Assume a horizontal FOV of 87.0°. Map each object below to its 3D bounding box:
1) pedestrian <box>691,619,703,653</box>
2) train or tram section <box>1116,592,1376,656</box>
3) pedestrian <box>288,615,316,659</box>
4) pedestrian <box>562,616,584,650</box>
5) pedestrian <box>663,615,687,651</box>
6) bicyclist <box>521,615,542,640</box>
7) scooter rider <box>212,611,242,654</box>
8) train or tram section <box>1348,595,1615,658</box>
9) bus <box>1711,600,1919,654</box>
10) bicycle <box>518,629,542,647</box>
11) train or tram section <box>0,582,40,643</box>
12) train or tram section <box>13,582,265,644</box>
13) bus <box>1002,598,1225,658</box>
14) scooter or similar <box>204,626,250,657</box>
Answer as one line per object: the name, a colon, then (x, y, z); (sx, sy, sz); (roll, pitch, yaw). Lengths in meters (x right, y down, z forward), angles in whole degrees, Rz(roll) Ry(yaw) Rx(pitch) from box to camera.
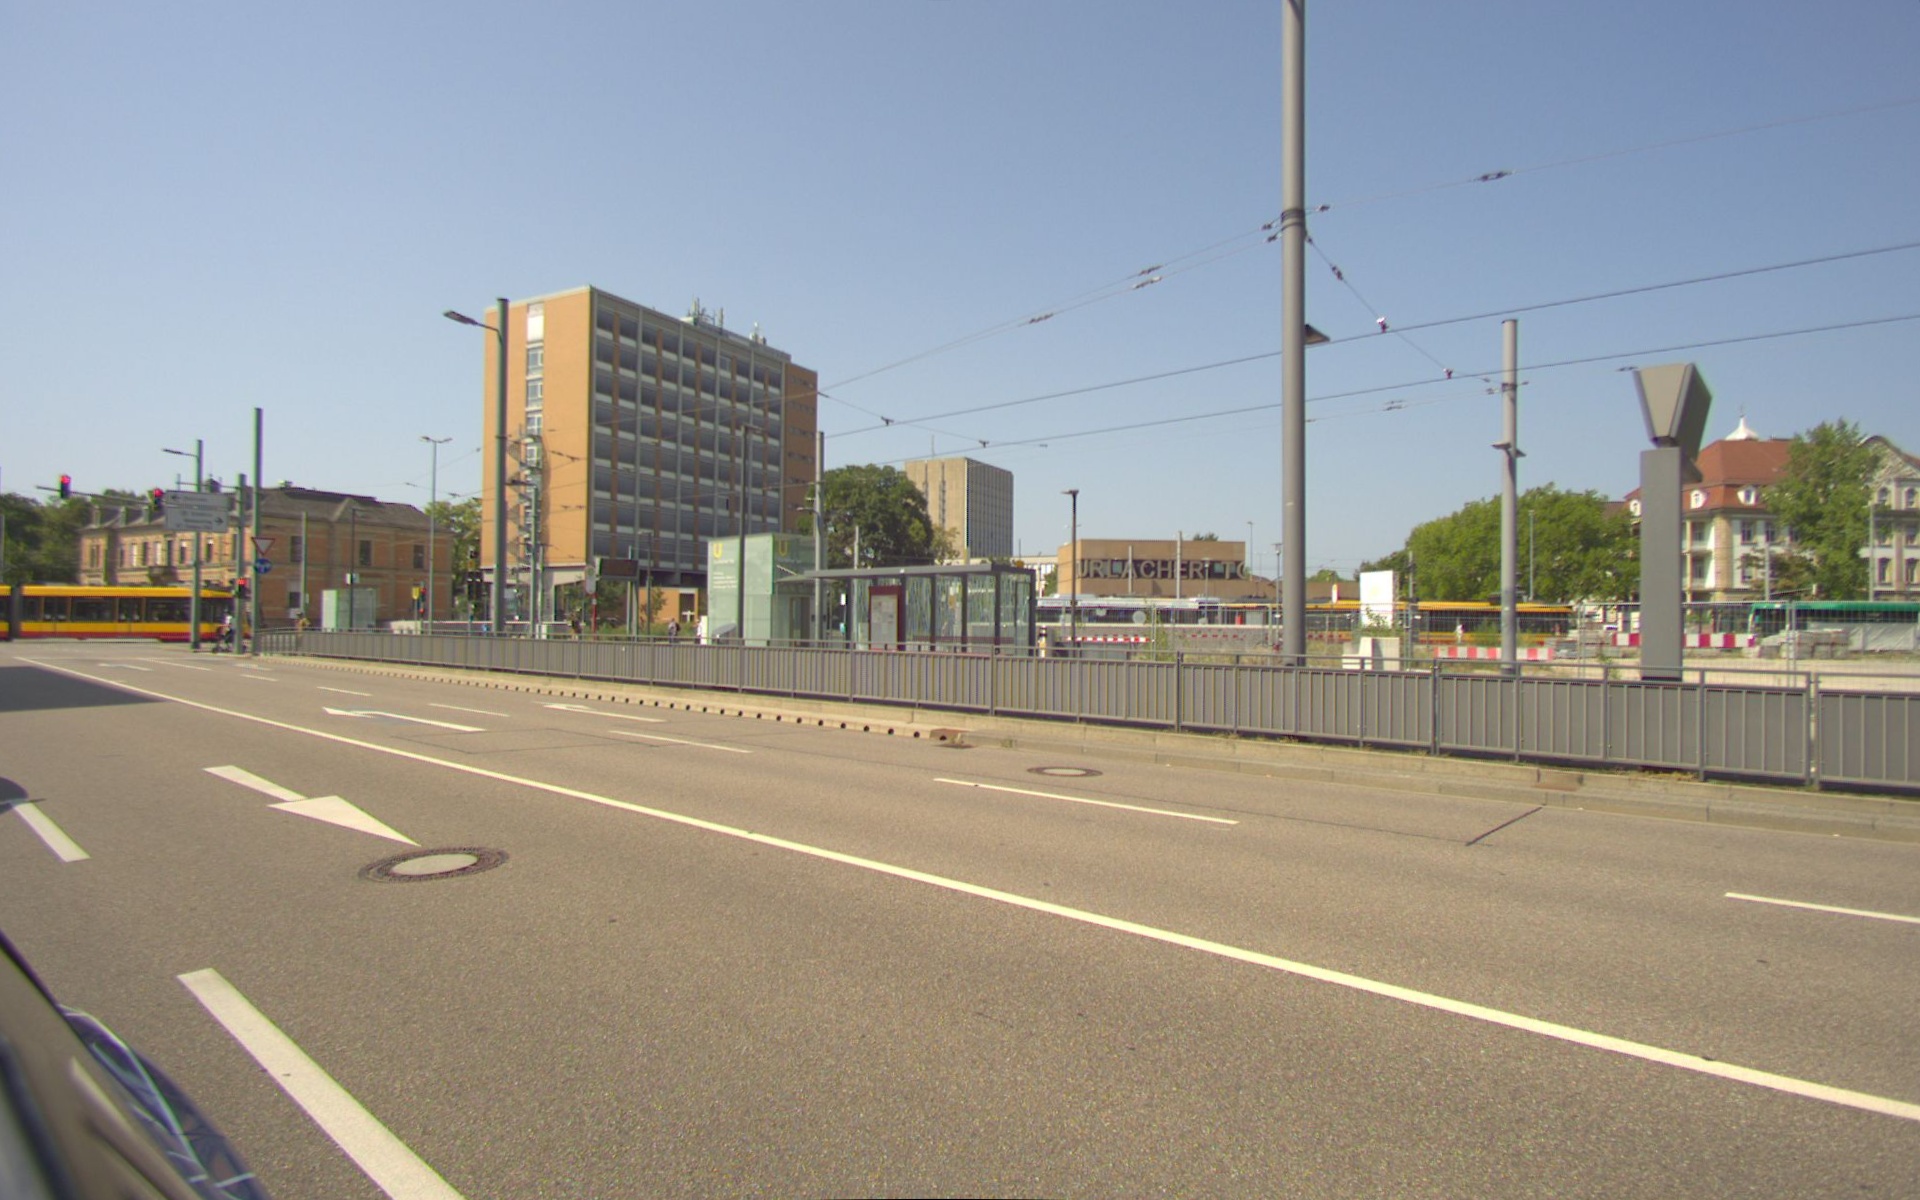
pedestrian: (-11.901, 1.618, 45.804); (0.455, 1.552, 0.438); (1, -2, -24)
train or tram section: (19.153, 1.696, 68.376); (16.420, 3.951, 4.067); (1, -3, -4)
pedestrian: (-25.370, 1.441, 39.037); (0.796, 1.672, 0.569); (-3, -3, 23)
pedestrian: (-21.182, 1.805, 55.382); (0.959, 1.793, 0.774); (0, -1, 44)
pedestrian: (-14.664, 1.683, 52.028); (0.959, 1.793, 0.774); (0, -1, 44)
bicyclist: (-25.517, 1.655, 60.273); (0.980, 1.470, 0.865); (-2, -3, 44)
scooter rider: (-28.794, 1.265, 39.754); (0.778, 1.686, 0.763); (-1, -2, 39)
train or tram section: (35.569, 1.896, 69.455); (16.420, 3.951, 4.067); (1, -3, -4)
bus: (53.483, 1.701, 62.804); (12.247, 3.055, 2.544); (-1, -3, -4)
bicycle: (-25.622, 2.274, 60.272); (0.605, 1.077, 1.914); (2, -3, -45)
train or tram section: (-61.748, 0.700, 59.196); (12.016, 3.588, 2.601); (1, -2, -11)
train or tram section: (-49.631, 0.834, 61.567); (12.016, 3.588, 2.601); (1, -2, -11)
bus: (8.892, 1.641, 59.198); (12.564, 3.356, 2.680); (0, -2, -4)
scooter or similar: (-28.795, 1.622, 39.744); (0.709, 1.157, 1.323); (-1, -2, 42)
